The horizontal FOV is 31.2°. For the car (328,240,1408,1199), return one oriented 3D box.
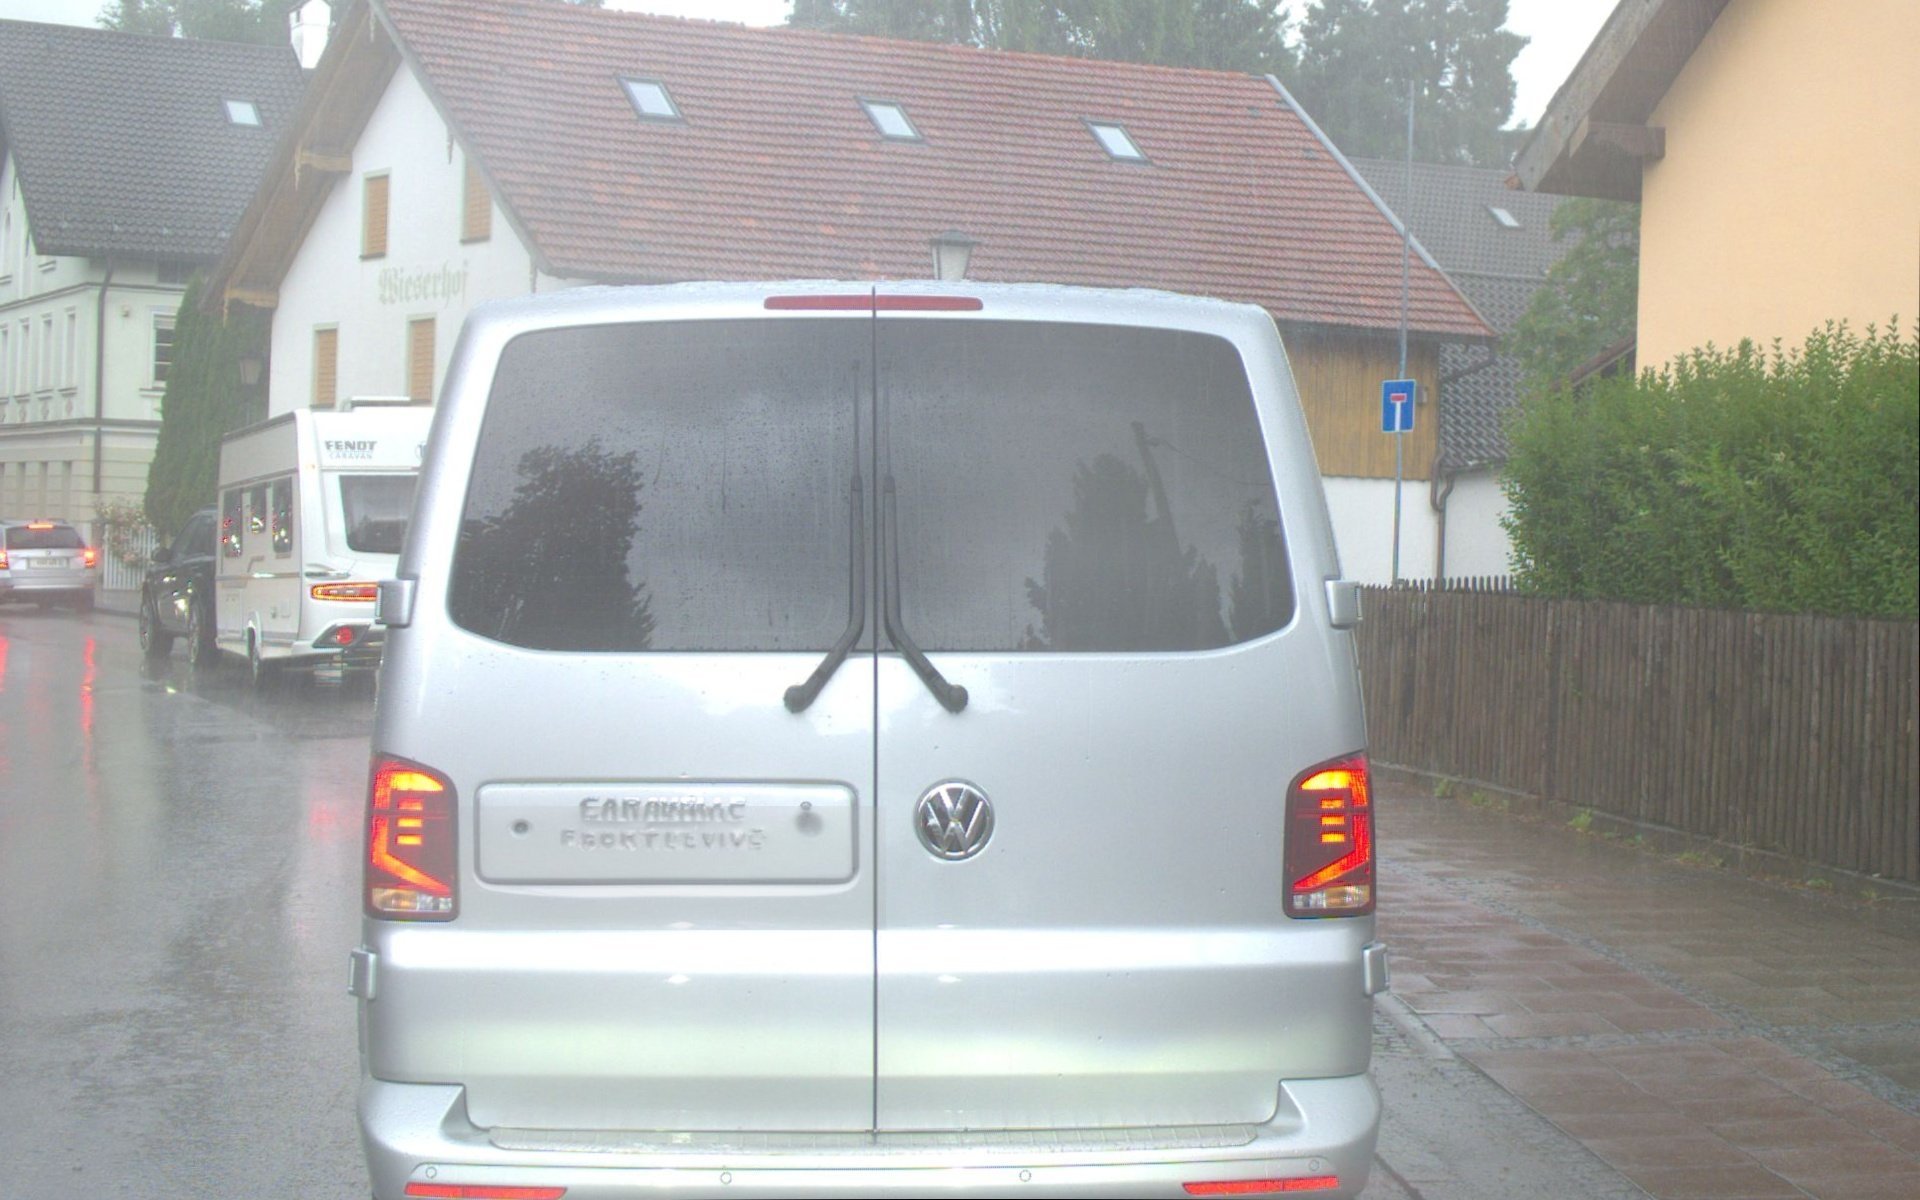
[{"bbox_3d":[-0.164,0.345,8.212,1.776,1.956,5.074,0,1,0],"label":"car"}]

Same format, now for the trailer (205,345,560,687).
[{"bbox_3d":[-5.572,-0.766,32.398,2.270,2.894,6.134,0,1,-19],"label":"trailer"}]

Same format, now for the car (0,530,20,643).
[{"bbox_3d":[-18.073,-0.342,60.050,2.168,1.892,5.015,2,1,-27],"label":"car"}]

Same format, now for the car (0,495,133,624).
[{"bbox_3d":[-14.816,-0.648,54.476,2.168,1.893,5.015,2,0,-27],"label":"car"}]

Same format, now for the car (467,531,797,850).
[{"bbox_3d":[-2.014,0.426,20.461,1.708,1.578,4.687,-1,2,-7],"label":"car"}]

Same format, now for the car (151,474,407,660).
[{"bbox_3d":[-7.550,-0.380,37.711,2.053,1.892,5.177,0,1,-19],"label":"car"}]
